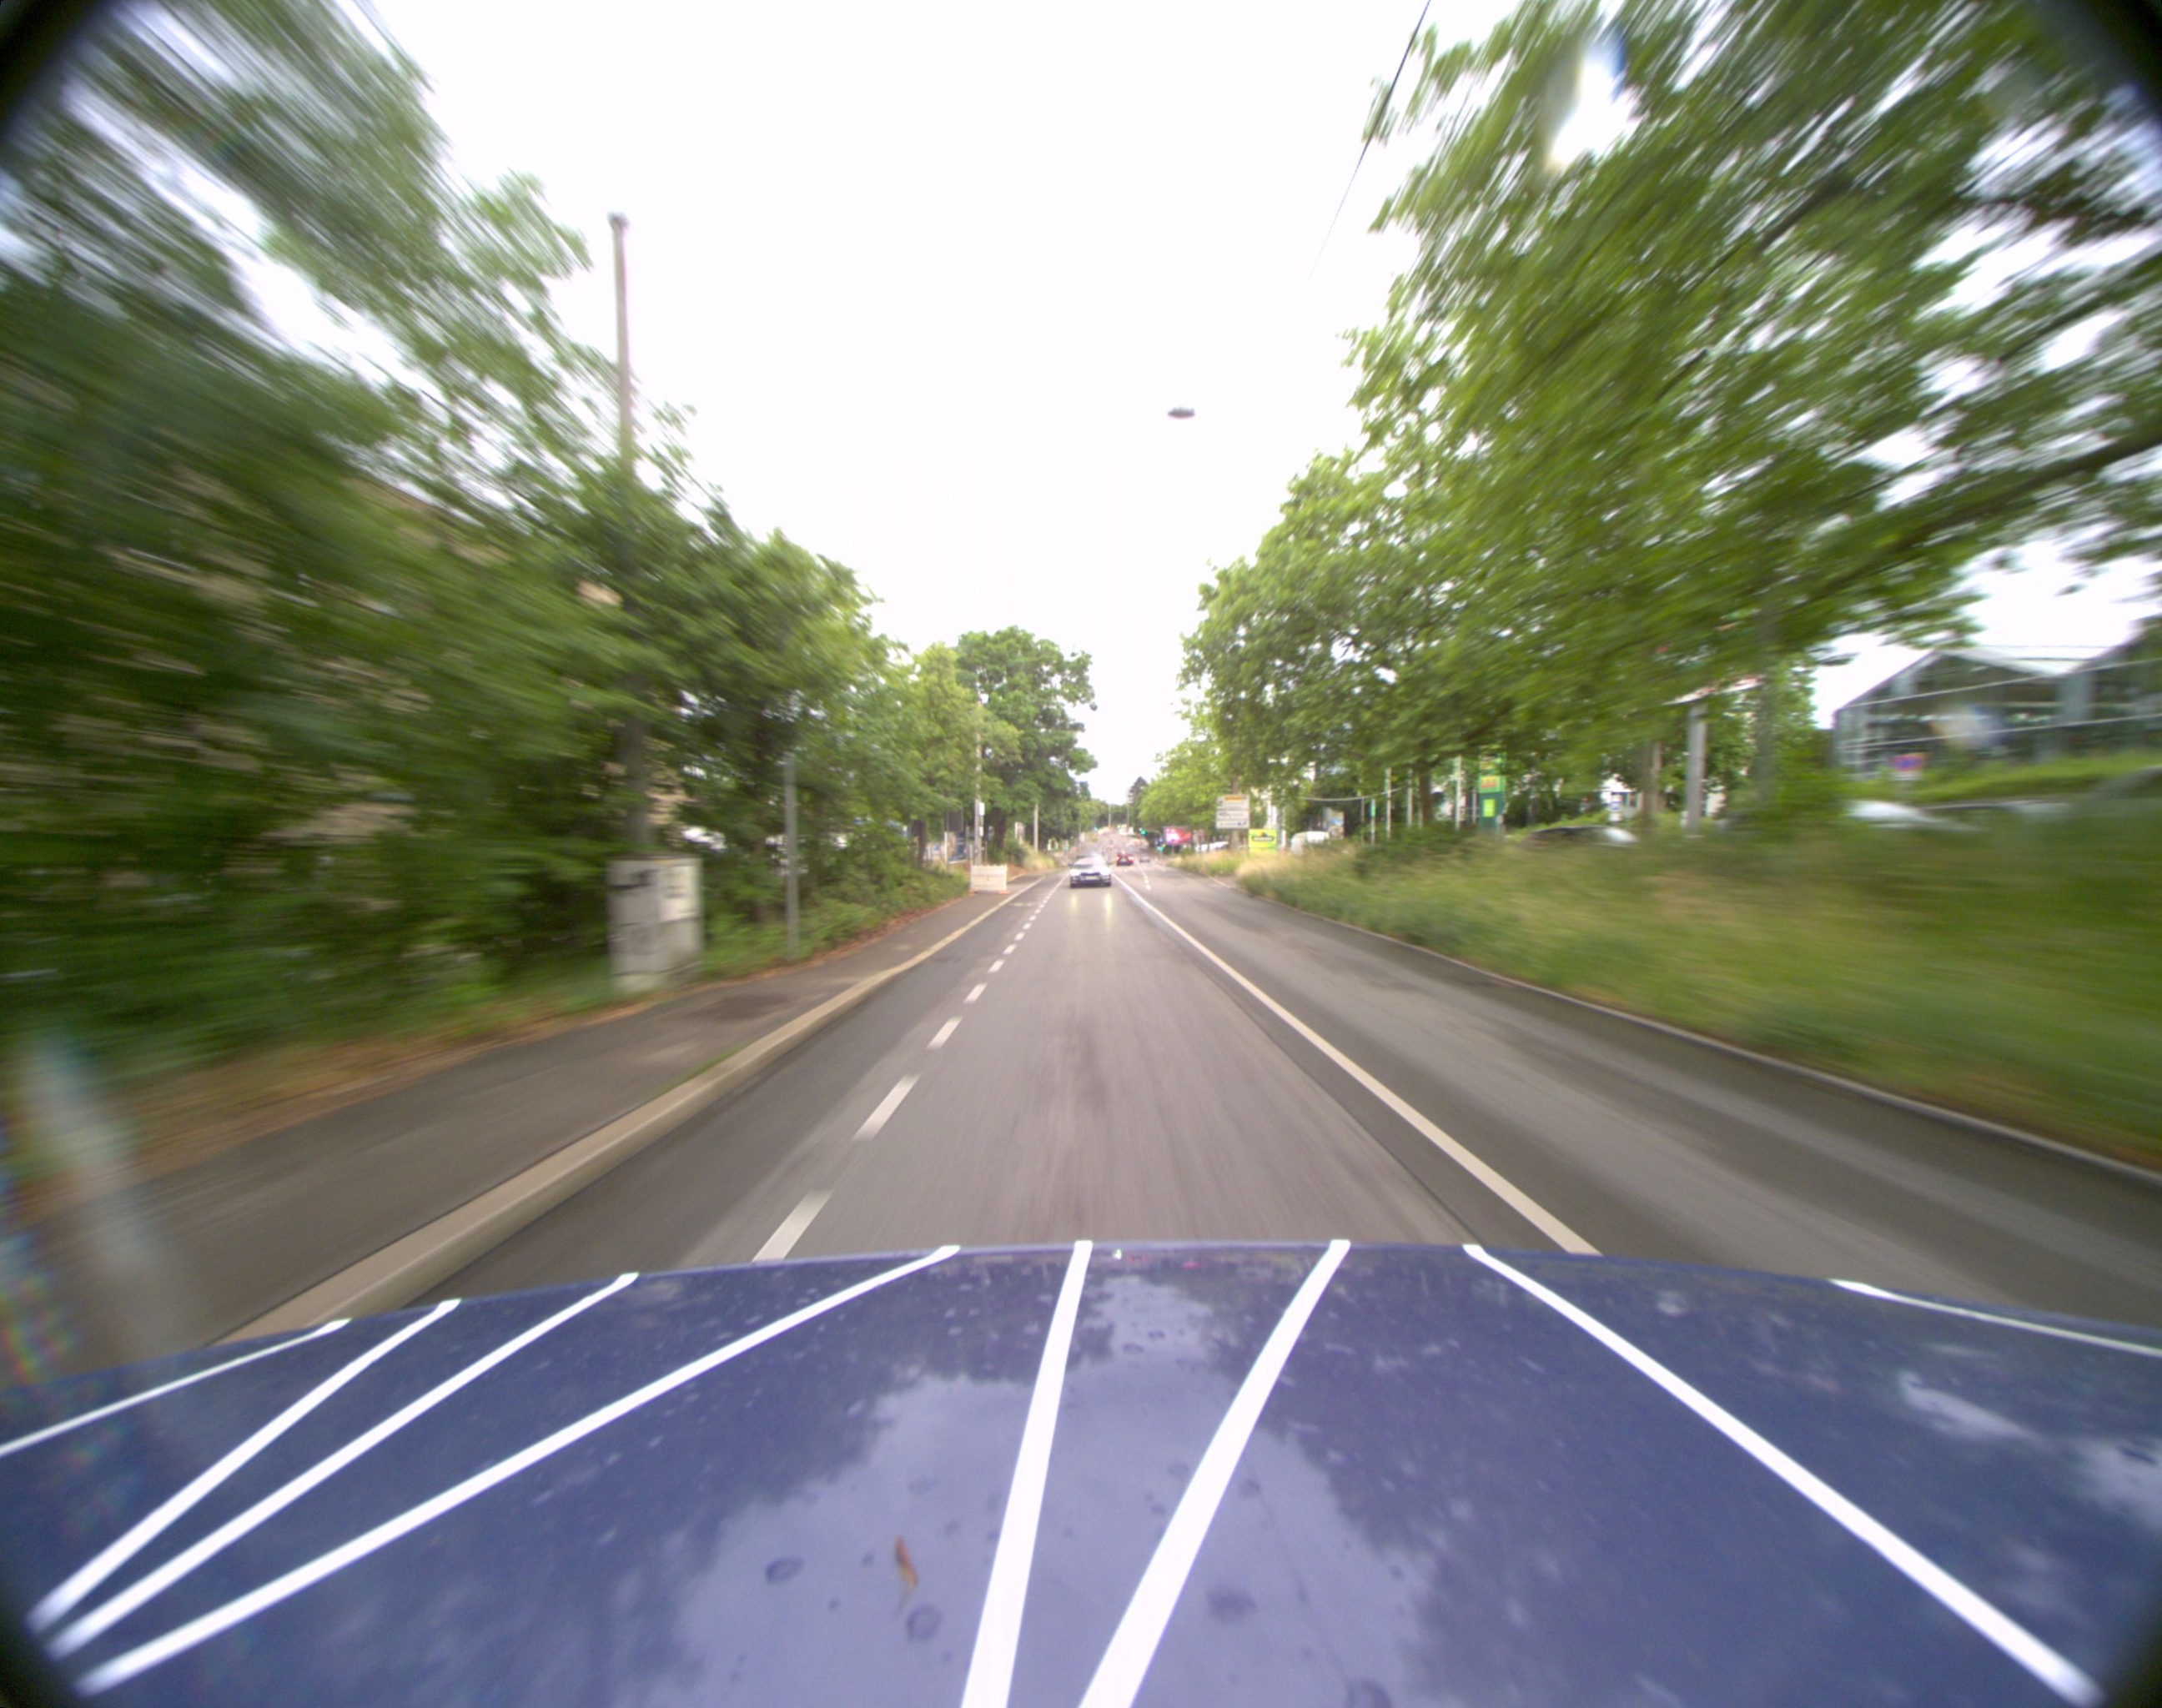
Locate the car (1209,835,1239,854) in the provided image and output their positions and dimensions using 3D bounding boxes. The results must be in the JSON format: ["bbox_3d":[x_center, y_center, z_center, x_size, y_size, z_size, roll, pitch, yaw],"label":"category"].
[{"bbox_3d":[11.422,-0.771,60.897,1.658,1.444,3.644,0,2,0],"label":"car"}]

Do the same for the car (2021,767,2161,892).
[{"bbox_3d":[12.865,-0.252,7.943,1.707,1.396,3.443,0,2,-2],"label":"car"}]

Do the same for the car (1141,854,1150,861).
[{"bbox_3d":[11.555,0.645,135.726,1.380,1.216,2.452,0,2,1],"label":"car"}]

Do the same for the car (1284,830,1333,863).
[{"bbox_3d":[17.778,-0.530,59.676,1.968,2.429,5.655,0,-1,-3],"label":"car"}]

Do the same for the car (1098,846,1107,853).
[{"bbox_3d":[4.995,-1.074,175.097,1.752,1.362,3.755,-3,2,0],"label":"car"}]

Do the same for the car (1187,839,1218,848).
[{"bbox_3d":[23.156,-2.031,144.610,5.371,1.792,2.218,0,2,-6],"label":"car"}]

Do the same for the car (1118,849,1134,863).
[{"bbox_3d":[6.143,0.254,103.499,2.019,1.856,5.042,0,0,2],"label":"car"}]

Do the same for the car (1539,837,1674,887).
[{"bbox_3d":[12.877,0.153,18.792,1.354,1.124,2.751,0,2,-2],"label":"car"}]

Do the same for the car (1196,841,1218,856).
[{"bbox_3d":[13.057,-0.546,78.793,1.651,1.469,4.444,0,-1,1],"label":"car"}]

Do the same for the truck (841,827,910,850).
[{"bbox_3d":[-25.334,-1.932,93.715,7.757,2.800,2.585,0,3,-1],"label":"truck"}]

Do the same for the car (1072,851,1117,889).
[{"bbox_3d":[0.582,0.664,33.136,1.811,1.509,4.052,-3,0,1],"label":"car"}]

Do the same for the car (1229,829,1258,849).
[{"bbox_3d":[11.787,-1.121,55.277,1.364,1.387,3.706,0,2,0],"label":"car"}]
